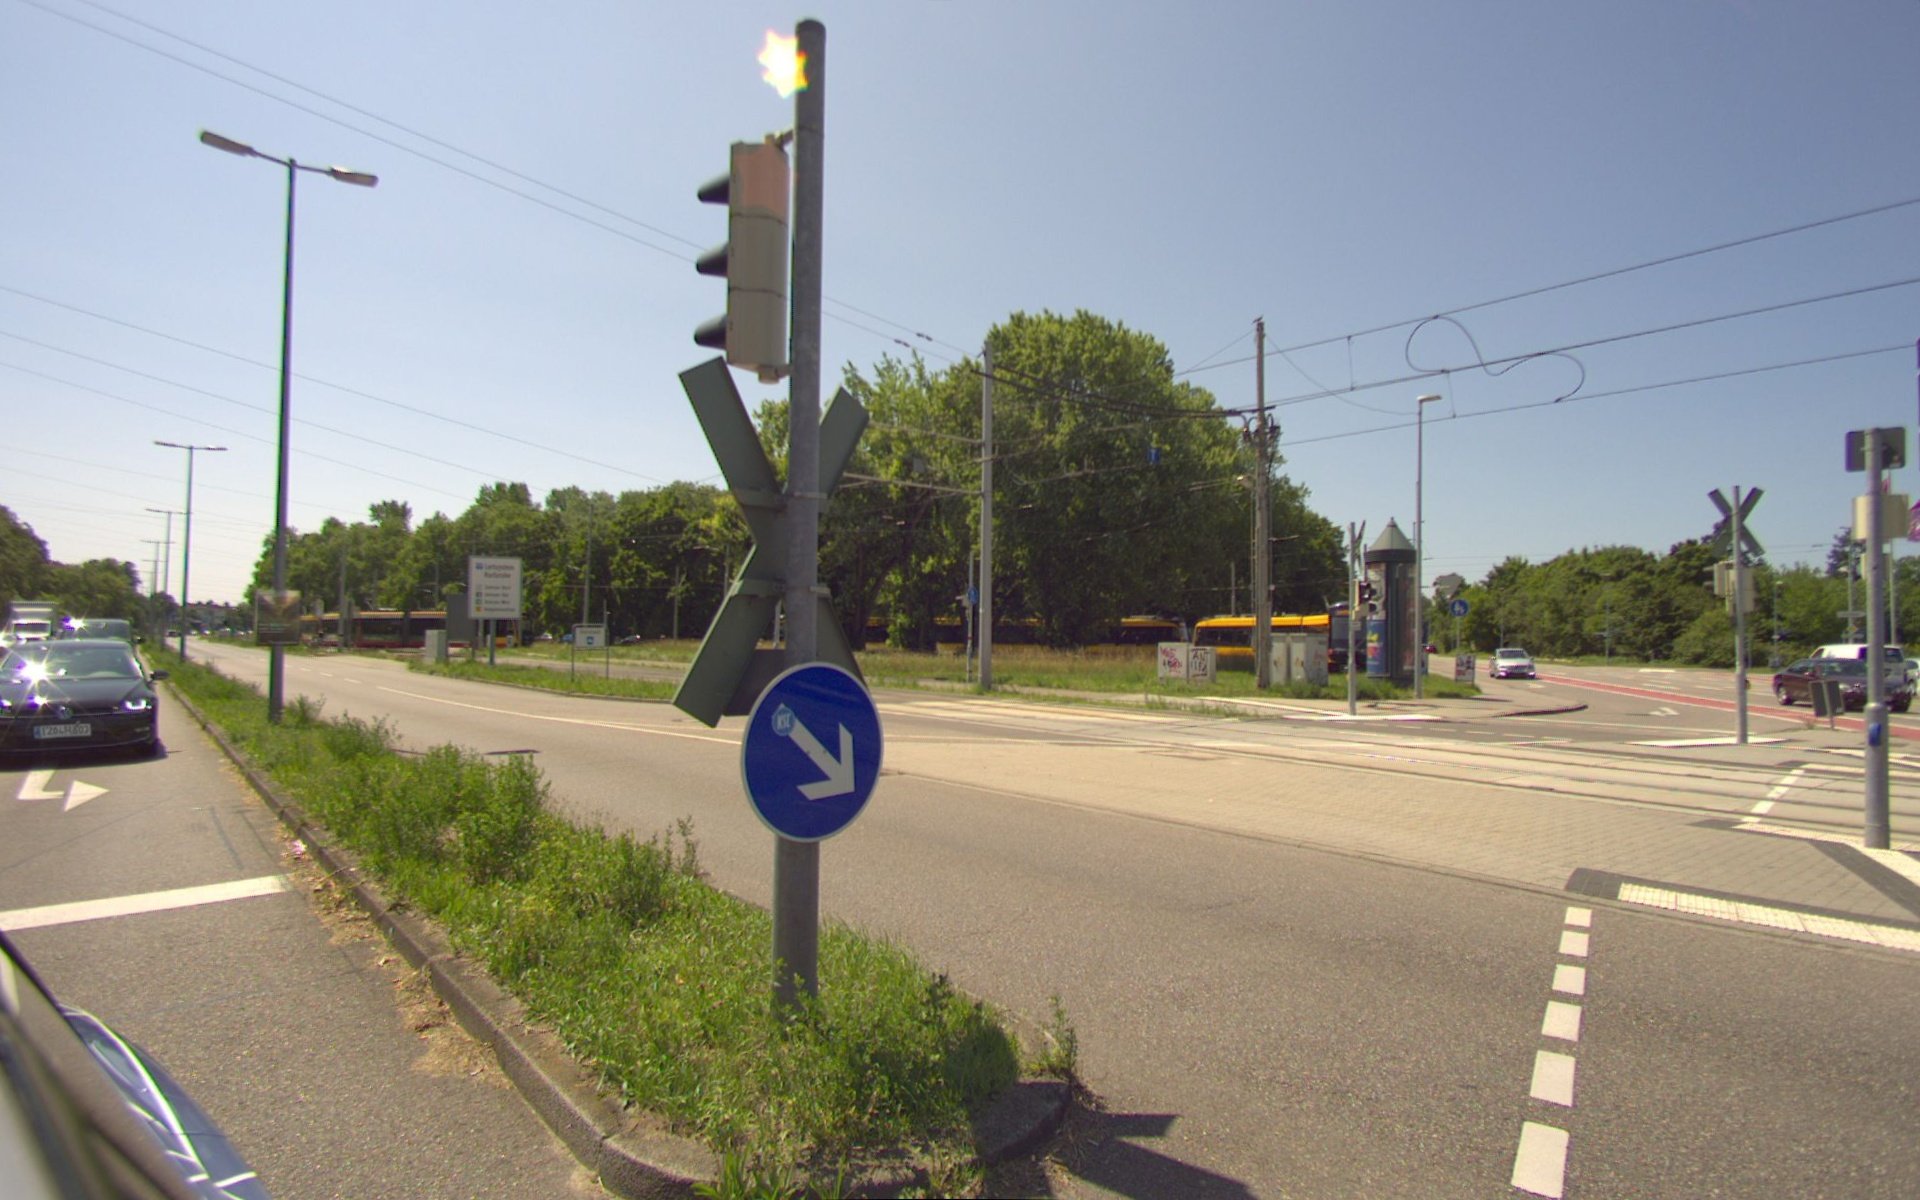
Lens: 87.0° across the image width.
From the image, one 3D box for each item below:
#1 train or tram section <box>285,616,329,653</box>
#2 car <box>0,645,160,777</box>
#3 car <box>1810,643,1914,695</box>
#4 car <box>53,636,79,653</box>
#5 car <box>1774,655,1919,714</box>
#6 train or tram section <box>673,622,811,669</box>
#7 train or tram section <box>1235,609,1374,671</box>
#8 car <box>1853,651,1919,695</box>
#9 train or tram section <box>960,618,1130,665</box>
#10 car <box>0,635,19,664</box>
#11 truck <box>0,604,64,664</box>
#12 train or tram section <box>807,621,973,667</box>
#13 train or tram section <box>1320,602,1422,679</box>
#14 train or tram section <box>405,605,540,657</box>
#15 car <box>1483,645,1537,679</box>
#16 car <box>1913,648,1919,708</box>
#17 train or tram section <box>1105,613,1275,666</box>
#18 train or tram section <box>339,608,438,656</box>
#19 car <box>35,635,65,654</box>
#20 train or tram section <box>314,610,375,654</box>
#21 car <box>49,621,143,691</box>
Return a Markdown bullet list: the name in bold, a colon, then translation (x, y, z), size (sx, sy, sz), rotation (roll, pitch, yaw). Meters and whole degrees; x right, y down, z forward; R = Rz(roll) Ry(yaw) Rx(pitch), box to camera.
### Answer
- **train or tram section**: translation (-79.174, 4.270, 122.540), size (2.978, 4.287, 12.772), rotation (1, -3, -39)
- **car**: translation (-11.303, 1.294, 12.852), size (1.682, 1.415, 4.062), rotation (1, -3, -37)
- **car**: translation (35.306, 2.658, 39.739), size (1.649, 1.921, 3.972), rotation (0, -3, 20)
- **car**: translation (-74.068, 3.702, 83.829), size (1.580, 1.296, 3.650), rotation (0, -1, -42)
- **car**: translation (25.208, 2.335, 28.795), size (1.751, 1.468, 4.260), rotation (0, -2, 18)
- **train or tram section**: translation (-18.396, 3.836, 85.879), size (11.256, 3.788, 3.032), rotation (0, -2, -9)
- **train or tram section**: translation (22.693, 2.674, 67.715), size (2.975, 3.788, 11.646), rotation (0, -2, -13)
- **car**: translation (37.758, 2.880, 40.317), size (1.829, 1.645, 3.974), rotation (0, -3, 19)
- **train or tram section**: translation (7.161, 3.538, 85.842), size (14.062, 3.788, 3.011), rotation (-1, -2, 15)
- **car**: translation (-50.197, 2.541, 52.443), size (1.820, 1.436, 4.222), rotation (1, -2, -40)
- **truck**: translation (-58.344, 2.093, 63.750), size (2.547, 3.560, 7.725), rotation (0, -1, -40)
- **train or tram section**: translation (-6.042, 3.773, 87.293), size (13.981, 3.788, 3.028), rotation (-1, -2, -3)
- **train or tram section**: translation (22.573, 2.233, 56.364), size (2.995, 3.788, 12.940), rotation (-1, -2, 12)
- **train or tram section**: translation (-42.885, 2.769, 88.903), size (12.661, 4.287, 3.004), rotation (-2, -3, 22)
- **car**: translation (28.565, 3.191, 52.647), size (1.733, 1.558, 4.231), rotation (-1, -1, 19)
- **car**: translation (27.966, 2.184, 27.004), size (1.803, 1.736, 4.800), rotation (1, -2, 19)
- **train or tram section**: translation (17.434, 3.128, 78.537), size (2.977, 3.788, 14.075), rotation (1, -3, -38)
- **train or tram section**: translation (-53.605, 3.085, 94.726), size (12.723, 4.287, 2.989), rotation (-2, -3, 36)
- **car**: translation (-67.425, 3.309, 74.996), size (1.580, 1.296, 3.650), rotation (0, -1, -42)
- **train or tram section**: translation (-62.716, 3.347, 102.981), size (2.979, 4.287, 12.765), rotation (1, -3, -42)
- **car**: translation (-26.206, 1.658, 30.830), size (1.911, 1.946, 4.856), rotation (3, -3, -38)
